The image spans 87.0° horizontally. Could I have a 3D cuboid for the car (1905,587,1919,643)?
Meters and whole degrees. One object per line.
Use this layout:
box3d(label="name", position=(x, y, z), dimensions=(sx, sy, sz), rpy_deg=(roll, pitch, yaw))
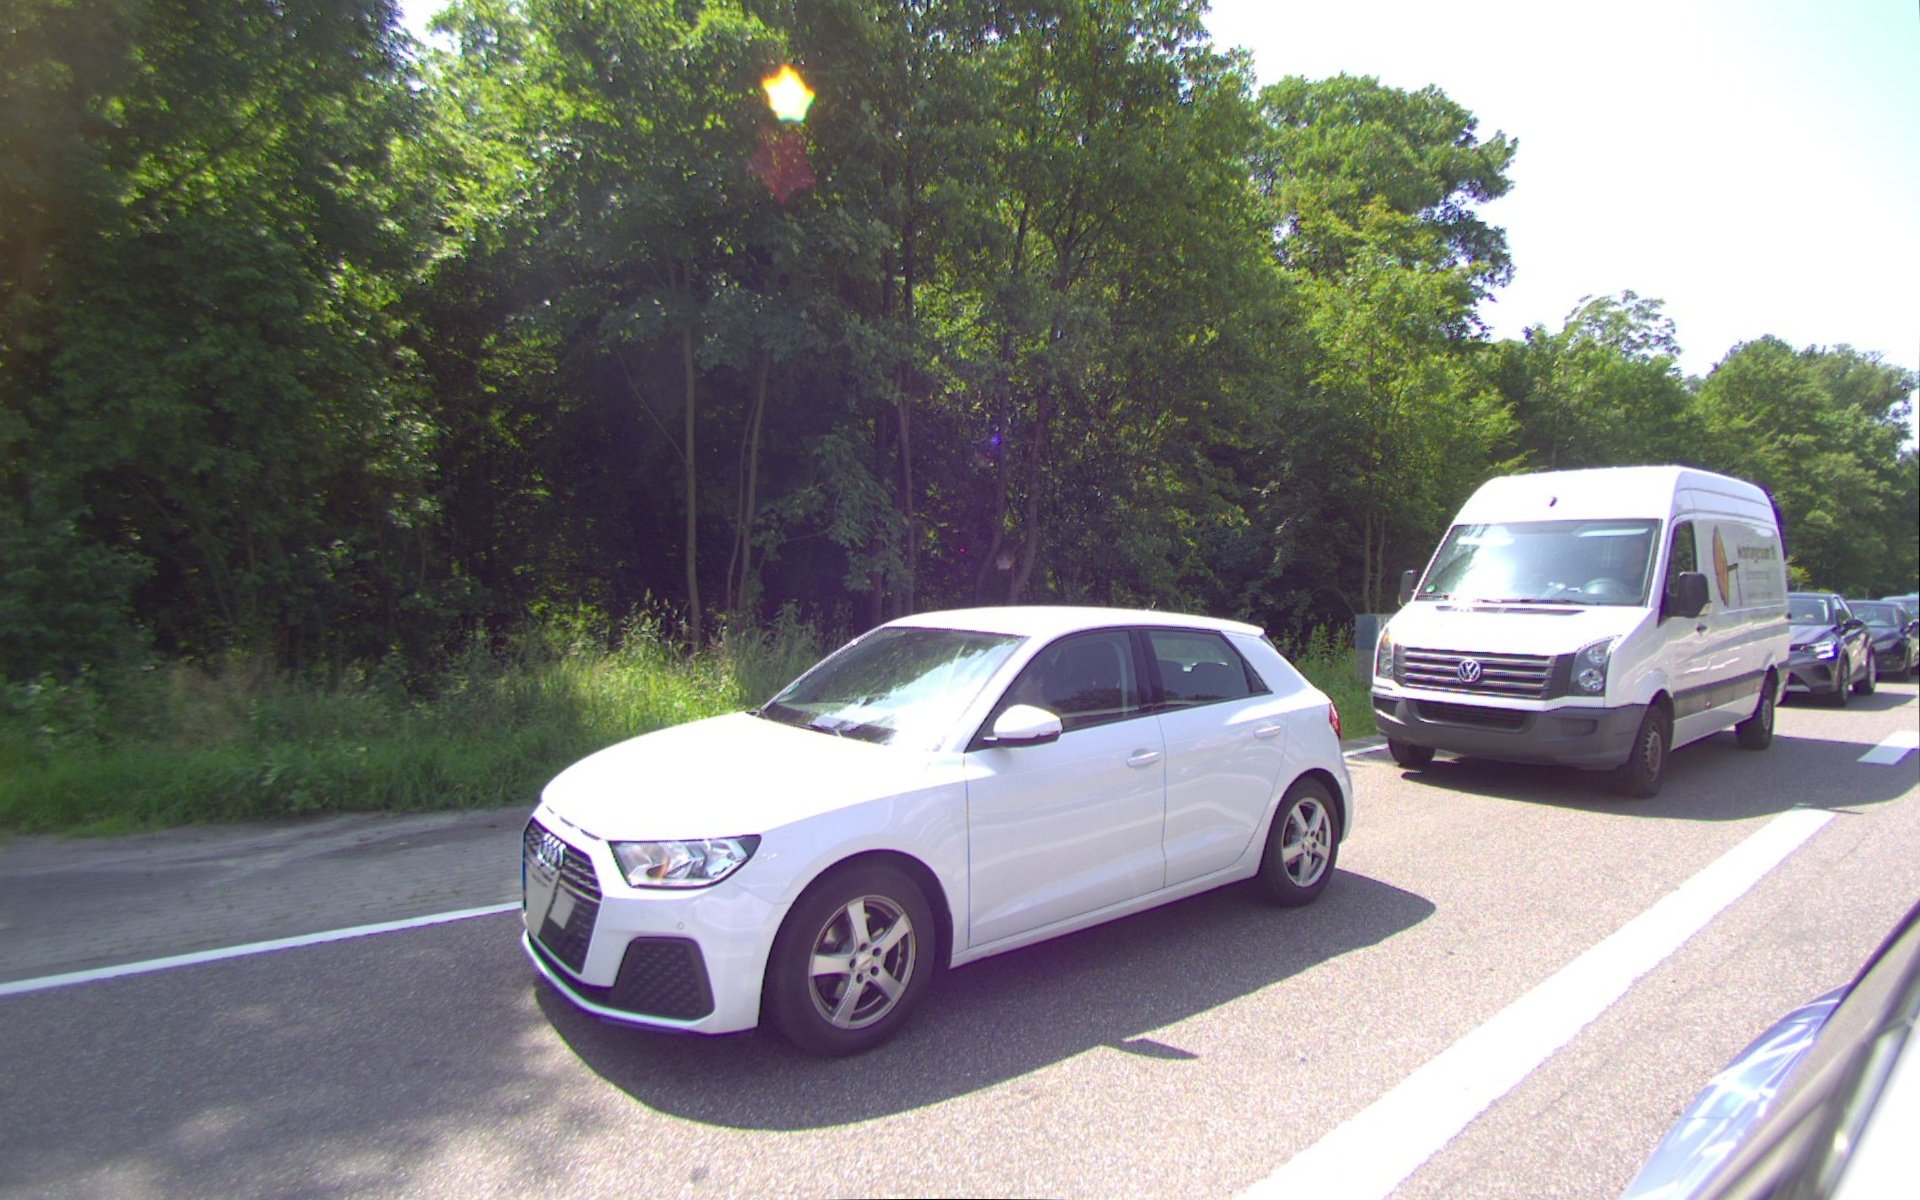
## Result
box3d(label="car", position=(27.138, 0.390, 27.505), dimensions=(4.157, 1.457, 1.794), rpy_deg=(-1, 2, -43))

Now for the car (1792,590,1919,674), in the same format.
box3d(label="car", position=(17.186, 0.525, 19.051), dimensions=(4.157, 1.372, 1.794), rpy_deg=(-1, 2, -43))

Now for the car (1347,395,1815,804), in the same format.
box3d(label="car", position=(6.006, -0.017, 9.341), dimensions=(5.953, 2.678, 1.973), rpy_deg=(0, 0, -41))

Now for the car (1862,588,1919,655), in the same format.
box3d(label="car", position=(22.578, 0.467, 23.663), dimensions=(4.157, 1.457, 1.794), rpy_deg=(-1, 2, -43))

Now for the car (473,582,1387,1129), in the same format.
box3d(label="car", position=(0.110, 0.676, 4.594), dimensions=(3.927, 1.454, 1.693), rpy_deg=(0, -1, -38))

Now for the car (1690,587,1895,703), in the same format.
box3d(label="car", position=(12.406, 0.555, 14.985), dimensions=(4.157, 1.479, 1.794), rpy_deg=(-1, 0, -43))
